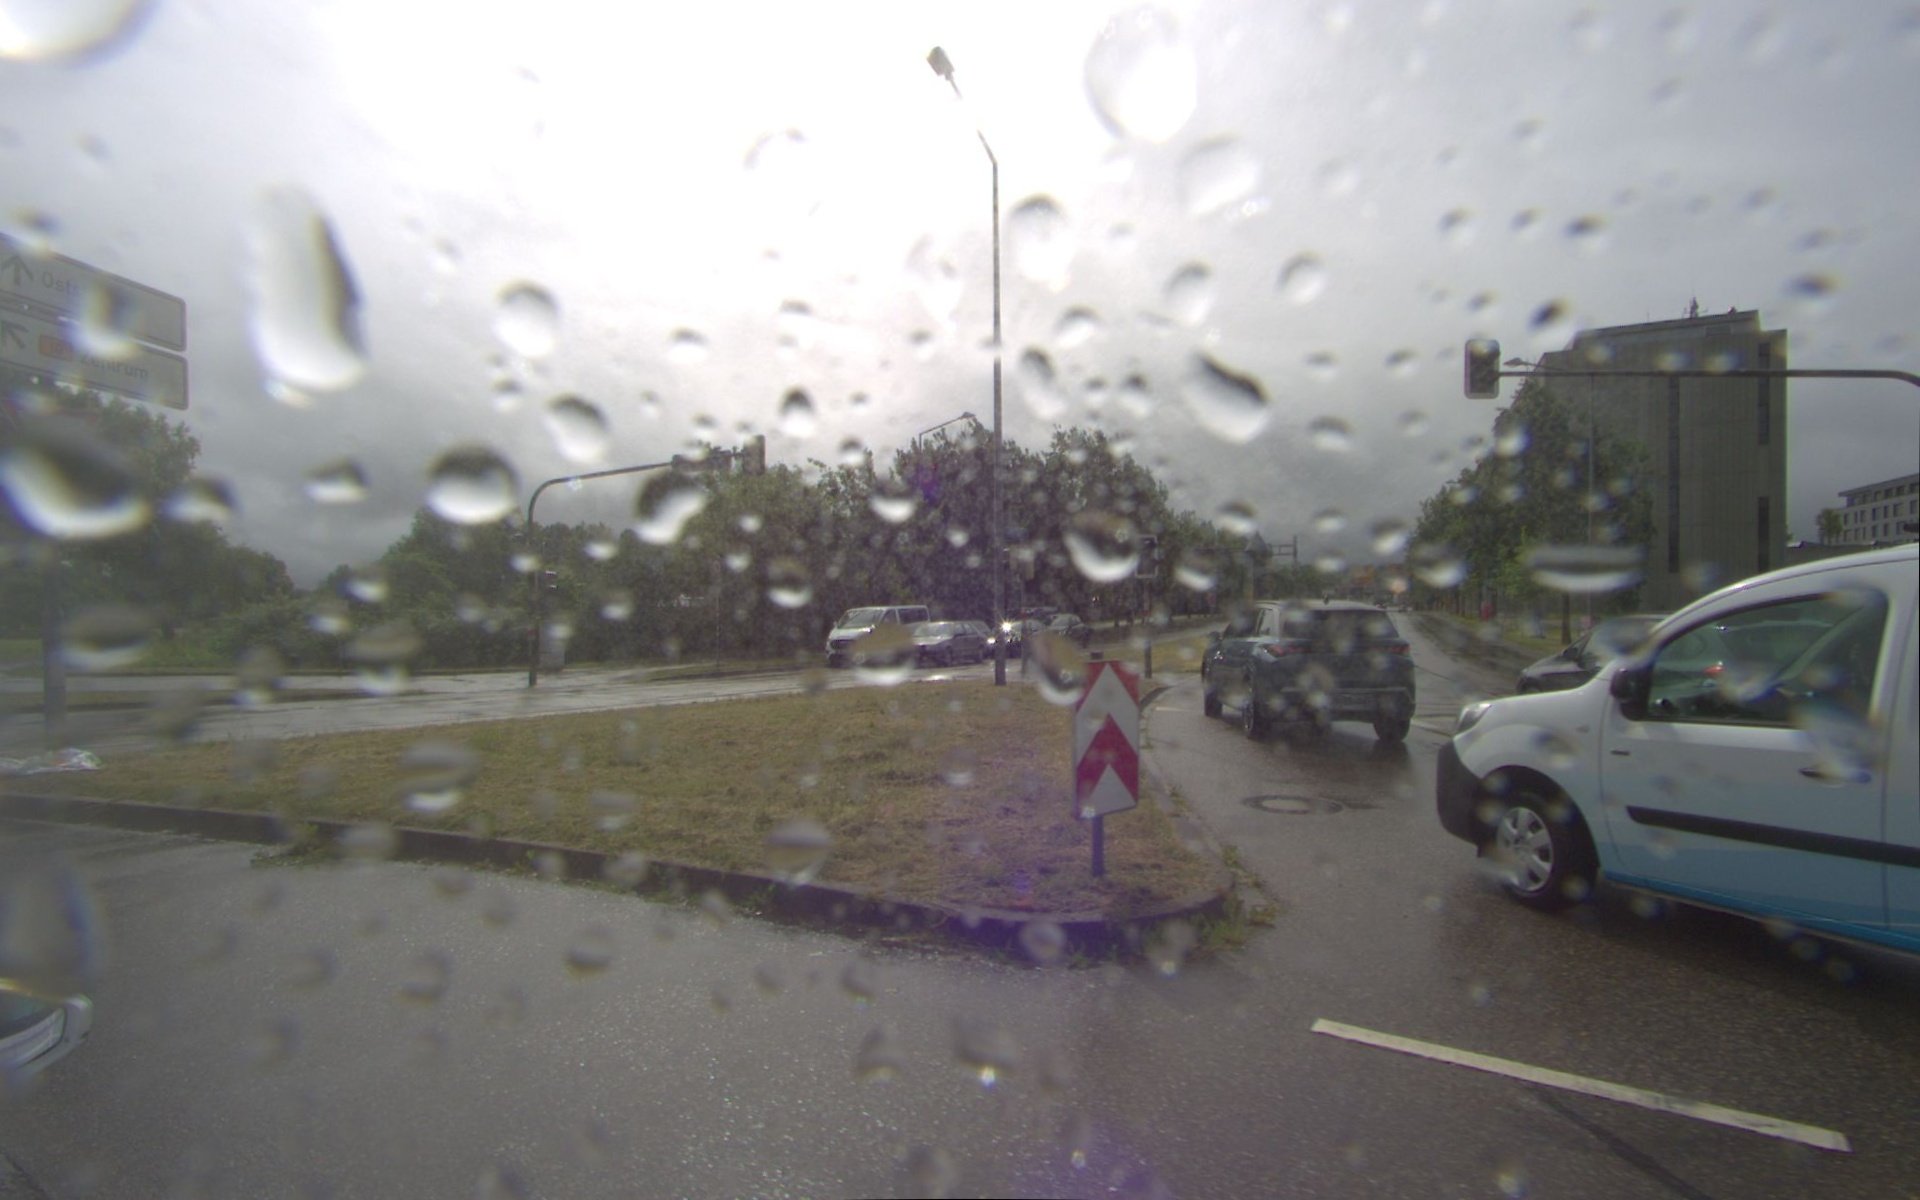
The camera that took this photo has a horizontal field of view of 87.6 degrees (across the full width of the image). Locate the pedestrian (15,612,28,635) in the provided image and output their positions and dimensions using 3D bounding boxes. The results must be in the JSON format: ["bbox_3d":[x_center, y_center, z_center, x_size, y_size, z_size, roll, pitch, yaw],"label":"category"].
[{"bbox_3d":[-74.520,1.881,79.495,0.591,1.754,0.602,-1,-2,-30],"label":"pedestrian"}]

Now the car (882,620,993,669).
[{"bbox_3d":[-0.618,1.370,32.185,1.836,1.398,4.539,0,-1,24],"label":"car"}]

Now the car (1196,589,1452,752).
[{"bbox_3d":[4.509,0.778,13.190,2.002,1.781,4.322,0,0,3],"label":"car"}]

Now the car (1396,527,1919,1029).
[{"bbox_3d":[4.208,0.641,4.056,1.836,1.785,4.539,0,-1,-21],"label":"car"}]

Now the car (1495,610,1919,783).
[{"bbox_3d":[7.823,0.893,11.020,1.775,1.548,4.000,0,0,1],"label":"car"}]

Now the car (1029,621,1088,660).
[{"bbox_3d":[4.362,1.749,43.816,1.541,1.602,3.591,0,-1,24],"label":"car"}]

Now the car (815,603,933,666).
[{"bbox_3d":[-2.869,1.142,34.628,2.044,2.013,4.787,0,-1,24],"label":"car"}]

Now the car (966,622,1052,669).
[{"bbox_3d":[1.937,1.670,38.176,1.836,1.556,4.474,0,1,24],"label":"car"}]
